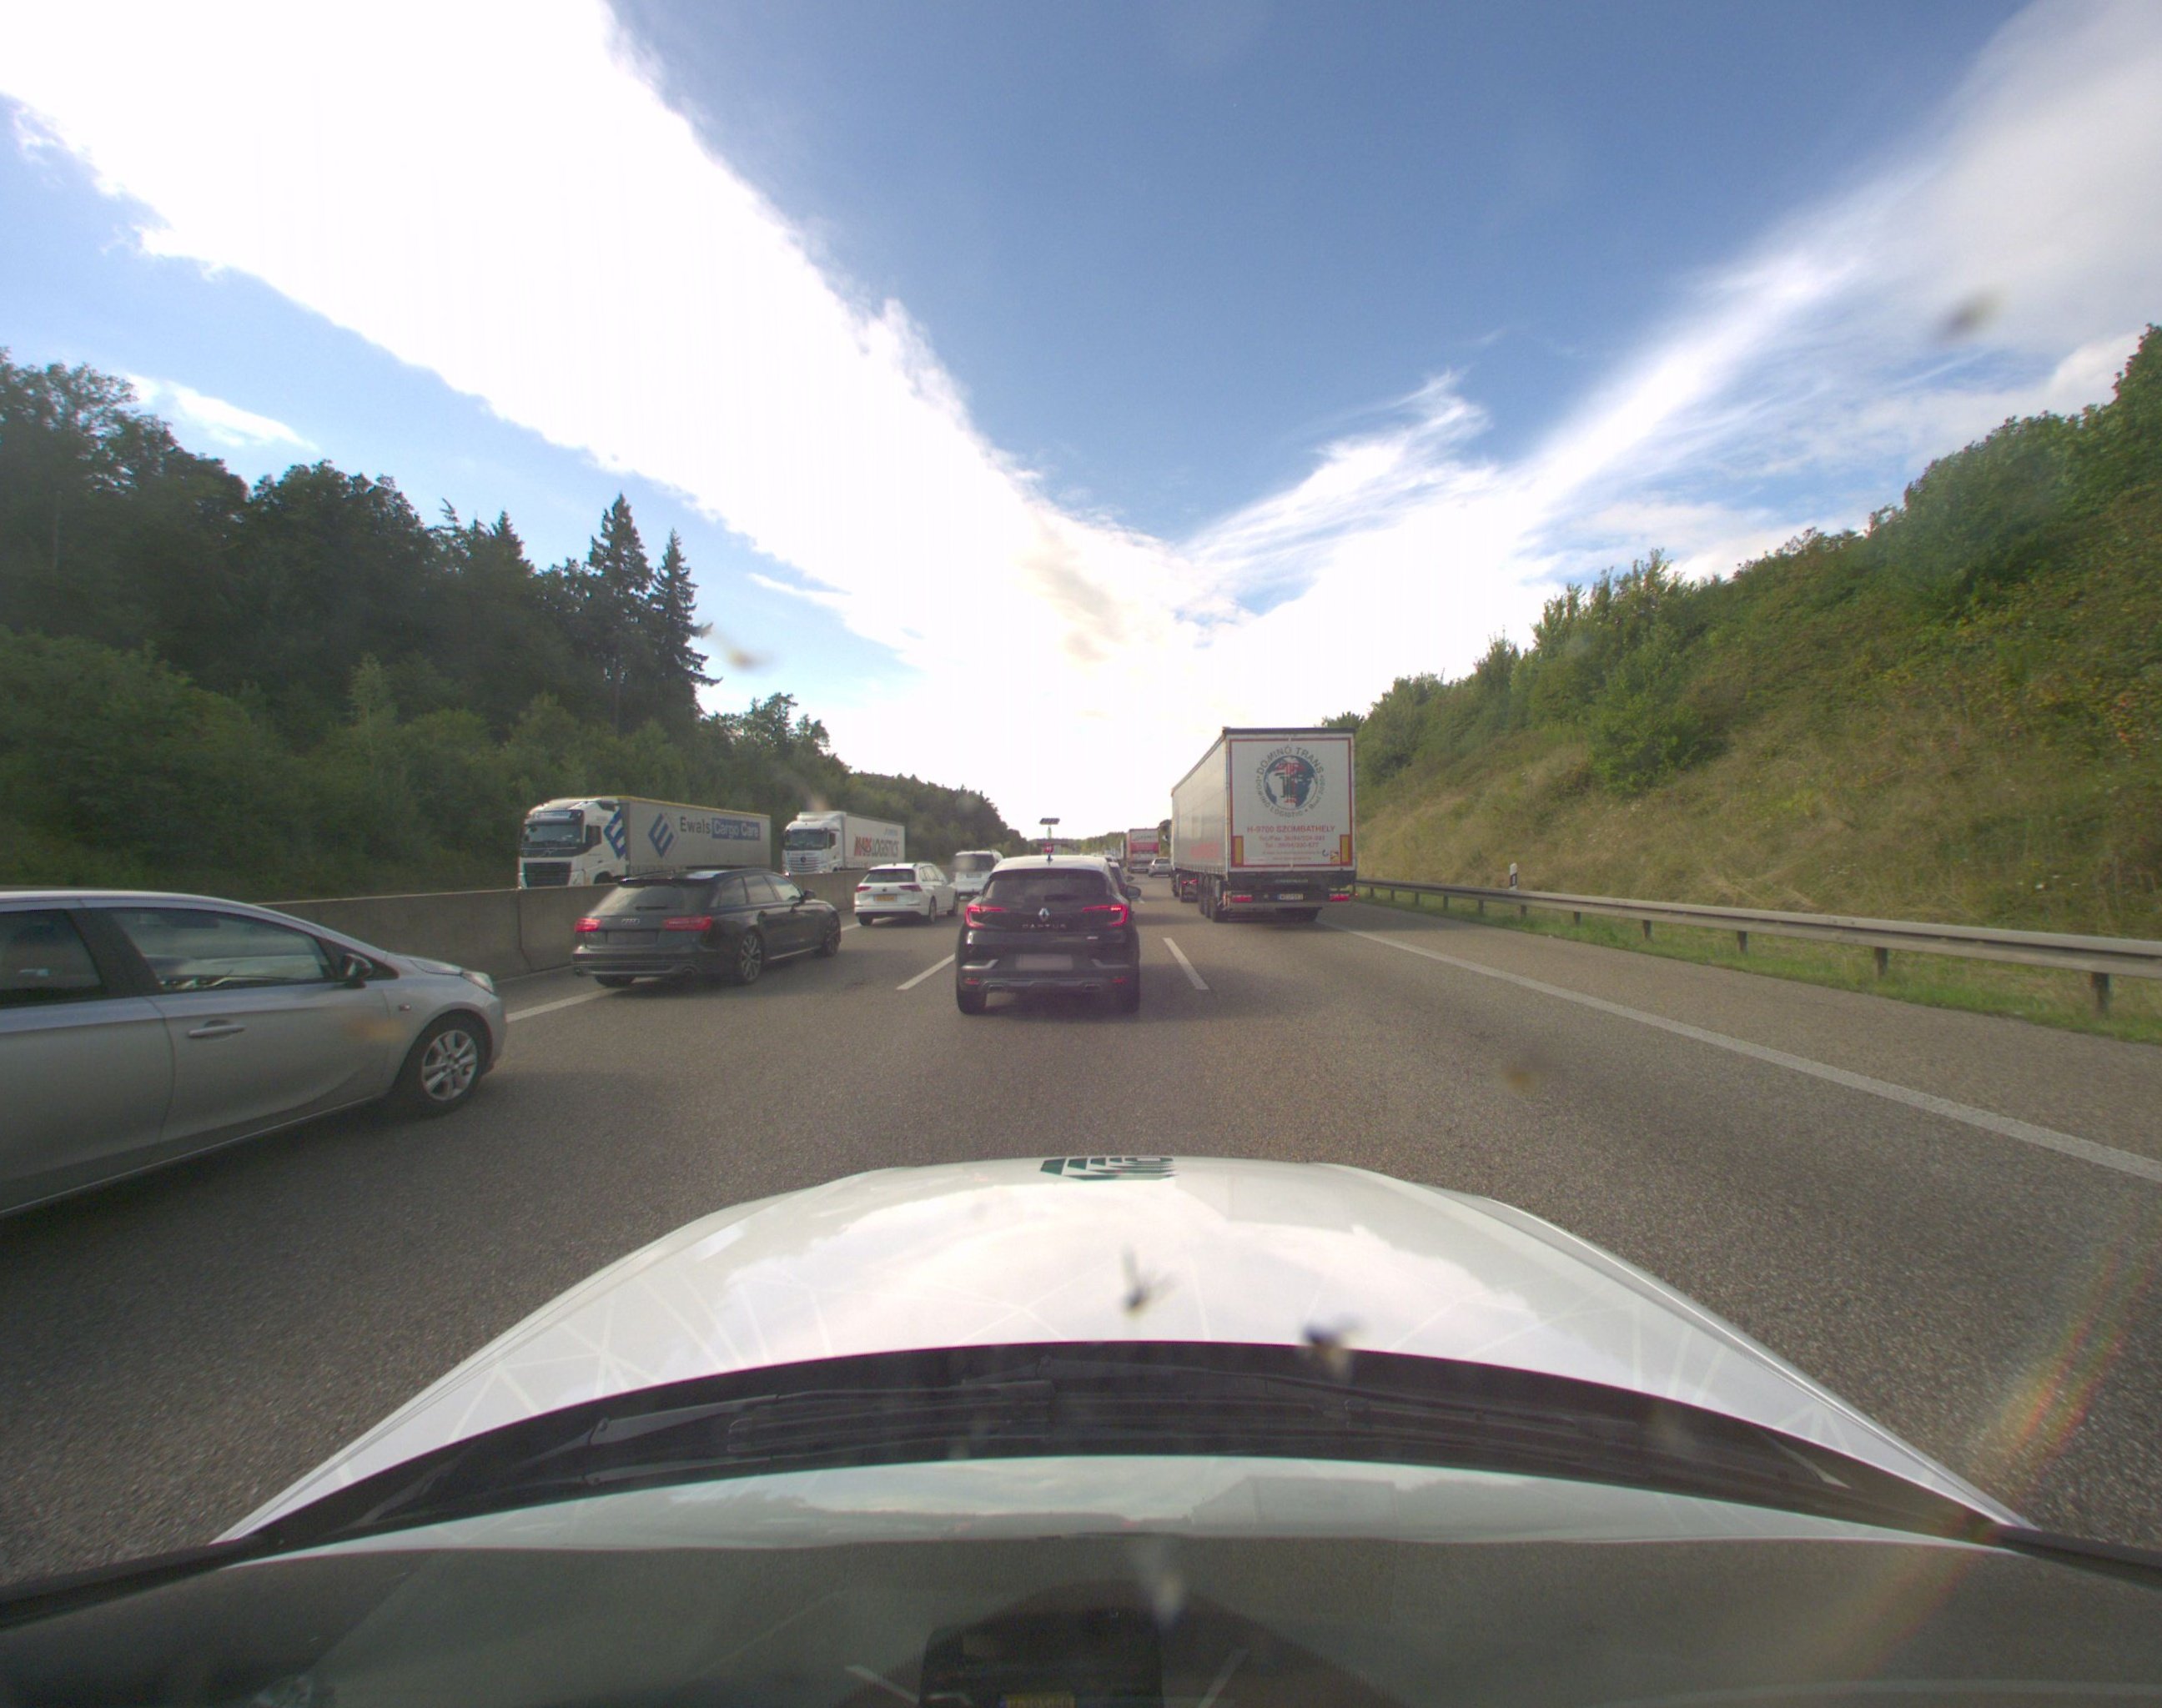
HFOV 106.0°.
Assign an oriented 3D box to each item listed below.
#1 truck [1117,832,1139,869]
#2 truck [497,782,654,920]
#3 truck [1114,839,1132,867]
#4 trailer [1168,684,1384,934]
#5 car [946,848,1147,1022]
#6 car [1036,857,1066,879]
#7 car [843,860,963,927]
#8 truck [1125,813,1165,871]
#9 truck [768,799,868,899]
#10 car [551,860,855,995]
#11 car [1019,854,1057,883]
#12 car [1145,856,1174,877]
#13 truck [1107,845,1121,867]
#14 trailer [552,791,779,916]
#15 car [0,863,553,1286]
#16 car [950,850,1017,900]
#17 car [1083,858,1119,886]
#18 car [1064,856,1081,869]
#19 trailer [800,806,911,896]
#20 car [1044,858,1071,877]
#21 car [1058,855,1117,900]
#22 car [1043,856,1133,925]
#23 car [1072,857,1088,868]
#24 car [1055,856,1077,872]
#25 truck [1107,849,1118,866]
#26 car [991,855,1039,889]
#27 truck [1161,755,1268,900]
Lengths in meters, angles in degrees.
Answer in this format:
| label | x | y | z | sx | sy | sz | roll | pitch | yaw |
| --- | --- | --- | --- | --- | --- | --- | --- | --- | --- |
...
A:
| label | x | y | z | sx | sy | sz | roll | pitch | yaw |
| --- | --- | --- | --- | --- | --- | --- | --- | --- | --- |
| truck | 7.315 | -0.505 | 127.465 | 3.153 | 5.505 | 12.746 | 0 | -1 | 3 |
| truck | -19.135 | -0.083 | 31.195 | 2.921 | 4.859 | 4.767 | 0 | -1 | 2 |
| truck | 8.710 | -0.159 | 167.760 | 3.152 | 5.505 | 12.751 | 0 | -1 | 4 |
| trailer | 4.379 | -0.832 | 21.981 | 2.991 | 4.661 | 13.295 | -1 | 0 | 2 |
| car | -0.157 | 0.746 | 9.348 | 1.796 | 1.552 | 4.005 | -1 | 0 | 4 |
| car | -2.264 | 1.061 | 62.677 | 1.985 | 1.613 | 4.002 | 0 | -1 | 3 |
| car | -4.251 | 0.899 | 20.181 | 1.797 | 1.461 | 4.312 | -1 | -1 | 3 |
| truck | 5.910 | -0.951 | 77.177 | 3.351 | 5.044 | 12.746 | 0 | -1 | 3 |
| truck | -14.477 | -0.219 | 45.514 | 3.076 | 5.101 | 7.144 | 0 | -1 | 2 |
| car | -4.835 | 0.832 | 11.349 | 1.835 | 1.456 | 4.750 | 0 | 0 | 2 |
| car | -2.637 | 0.921 | 51.030 | 1.985 | 1.722 | 4.002 | 0 | -1 | 3 |
| car | 5.777 | 0.910 | 60.241 | 1.798 | 1.533 | 3.926 | 0 | -1 | 1 |
| truck | 8.165 | 0.479 | 201.299 | 3.153 | 5.159 | 12.746 | 0 | -1 | 3 |
| trailer | -18.860 | 0.071 | 38.981 | 2.916 | 4.830 | 14.659 | 0 | -1 | 2 |
| car | -4.688 | 0.818 | 3.745 | 1.740 | 1.465 | 4.043 | -1 | 0 | 2 |
| car | -3.646 | 0.770 | 31.146 | 1.905 | 1.789 | 4.418 | 0 | -1 | 1 |
| car | 1.199 | 1.032 | 46.801 | 1.985 | 1.514 | 4.002 | 0 | -1 | 3 |
| car | -1.057 | 1.057 | 102.977 | 1.985 | 1.613 | 4.003 | -1 | 0 | 3 |
| trailer | -14.253 | -0.086 | 53.168 | 3.077 | 5.074 | 13.838 | 0 | -1 | 1 |
| car | -2.006 | 1.152 | 70.210 | 1.985 | 1.613 | 4.002 | 0 | -1 | 3 |
| car | 0.322 | 0.829 | 29.777 | 1.985 | 1.514 | 4.002 | 0 | -1 | 3 |
| car | 0.252 | 0.840 | 20.025 | 1.985 | 1.514 | 4.002 | 0 | -1 | 3 |
| car | -0.141 | 1.205 | 116.390 | 1.985 | 1.613 | 4.003 | -1 | 0 | 3 |
| car | -1.526 | 1.054 | 85.347 | 1.985 | 1.613 | 4.003 | -1 | 0 | 3 |
| truck | 10.199 | 1.193 | 260.610 | 3.153 | 5.505 | 12.746 | 0 | -1 | 3 |
| car | -3.265 | 0.885 | 40.791 | 1.848 | 1.641 | 3.928 | 0 | -1 | 3 |
| truck | 4.614 | -0.839 | 29.354 | 2.986 | 4.667 | 5.941 | -1 | 0 | 2 |
